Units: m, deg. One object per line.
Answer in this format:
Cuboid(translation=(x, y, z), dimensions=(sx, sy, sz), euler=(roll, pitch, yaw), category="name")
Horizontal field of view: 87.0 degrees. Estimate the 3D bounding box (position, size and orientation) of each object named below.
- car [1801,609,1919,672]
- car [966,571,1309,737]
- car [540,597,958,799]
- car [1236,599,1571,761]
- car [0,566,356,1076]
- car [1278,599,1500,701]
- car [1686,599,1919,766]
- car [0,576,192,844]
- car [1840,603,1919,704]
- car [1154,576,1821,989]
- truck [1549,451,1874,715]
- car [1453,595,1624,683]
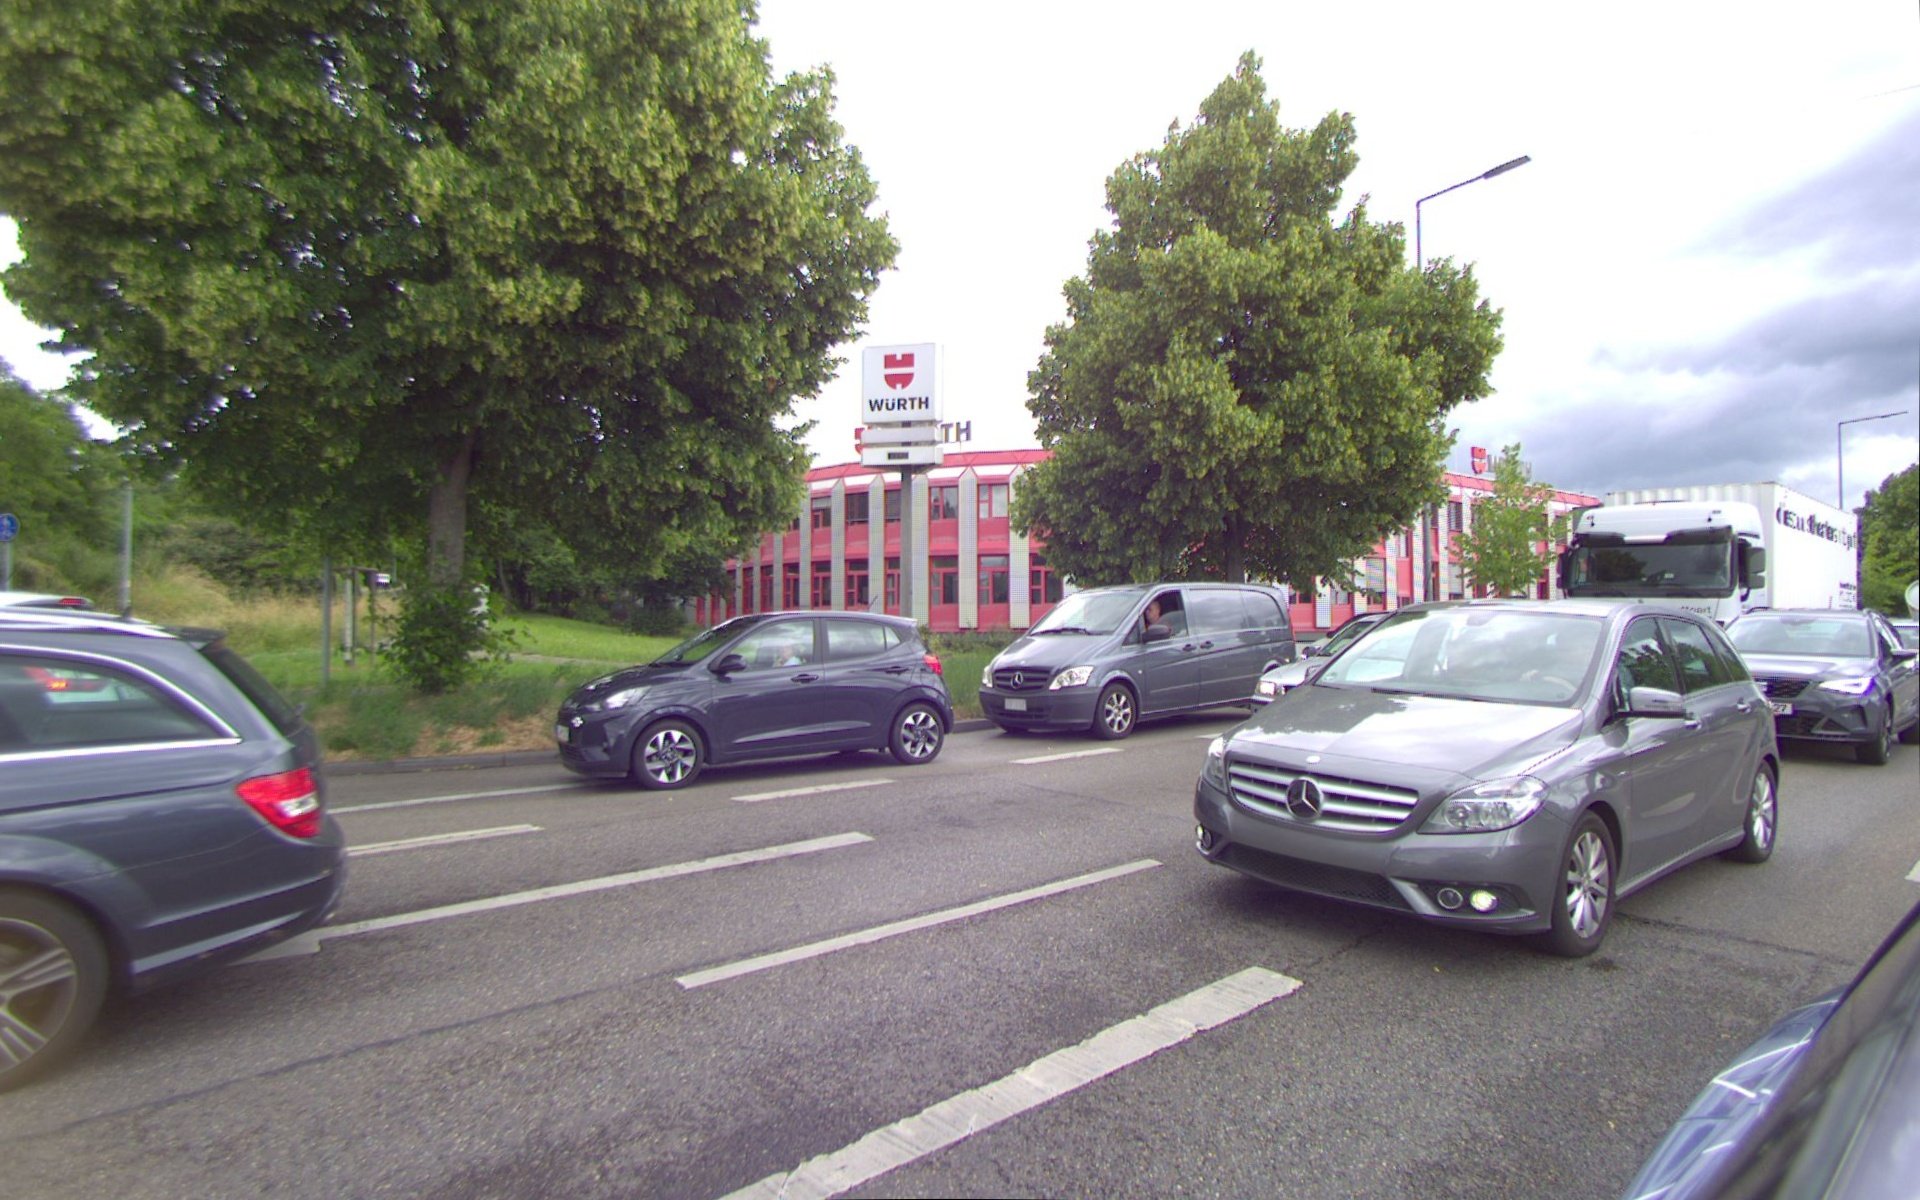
Cuboid(translation=(24.230, 1.047, 27.208), dimensions=(4.299, 1.549, 1.850), euler=(1, -1, -41), category="car")
Cuboid(translation=(2.423, 0.647, 13.087), dimensions=(4.591, 1.798, 1.761), euler=(0, -4, -40), category="car")
Cuboid(translation=(-1.914, 0.753, 9.497), dimensions=(3.495, 1.525, 1.608), euler=(-1, 0, -34), category="car")
Cuboid(translation=(4.993, 0.718, 11.131), dimensions=(4.215, 1.400, 1.749), euler=(-1, 1, -41), category="car")
Cuboid(translation=(-4.329, 0.637, 2.847), dimensions=(4.279, 1.504, 1.749), euler=(1, -1, -41), category="car")
Cuboid(translation=(7.402, 0.805, 17.320), dimensions=(4.034, 1.536, 1.842), euler=(0, -4, -41), category="car")
Cuboid(translation=(9.417, 0.774, 11.033), dimensions=(3.769, 1.512, 1.627), euler=(1, -1, -41), category="car")
Cuboid(translation=(-7.906, 0.699, 6.586), dimensions=(4.278, 1.676, 1.767), euler=(0, -1, -20), category="car")
Cuboid(translation=(15.898, 0.855, 16.477), dimensions=(3.431, 1.525, 1.825), euler=(2, -1, -39), category="car")
Cuboid(translation=(3.105, 0.702, 5.645), dimensions=(3.972, 1.527, 1.751), euler=(1, -1, -37), category="car")
Cuboid(translation=(14.811, -0.240, 19.489), dimensions=(10.000, 3.953, 2.808), euler=(0, 0, -40), category="truck")
Cuboid(translation=(12.387, 0.811, 21.580), dimensions=(4.133, 1.679, 1.863), euler=(1, -3, -41), category="car")
